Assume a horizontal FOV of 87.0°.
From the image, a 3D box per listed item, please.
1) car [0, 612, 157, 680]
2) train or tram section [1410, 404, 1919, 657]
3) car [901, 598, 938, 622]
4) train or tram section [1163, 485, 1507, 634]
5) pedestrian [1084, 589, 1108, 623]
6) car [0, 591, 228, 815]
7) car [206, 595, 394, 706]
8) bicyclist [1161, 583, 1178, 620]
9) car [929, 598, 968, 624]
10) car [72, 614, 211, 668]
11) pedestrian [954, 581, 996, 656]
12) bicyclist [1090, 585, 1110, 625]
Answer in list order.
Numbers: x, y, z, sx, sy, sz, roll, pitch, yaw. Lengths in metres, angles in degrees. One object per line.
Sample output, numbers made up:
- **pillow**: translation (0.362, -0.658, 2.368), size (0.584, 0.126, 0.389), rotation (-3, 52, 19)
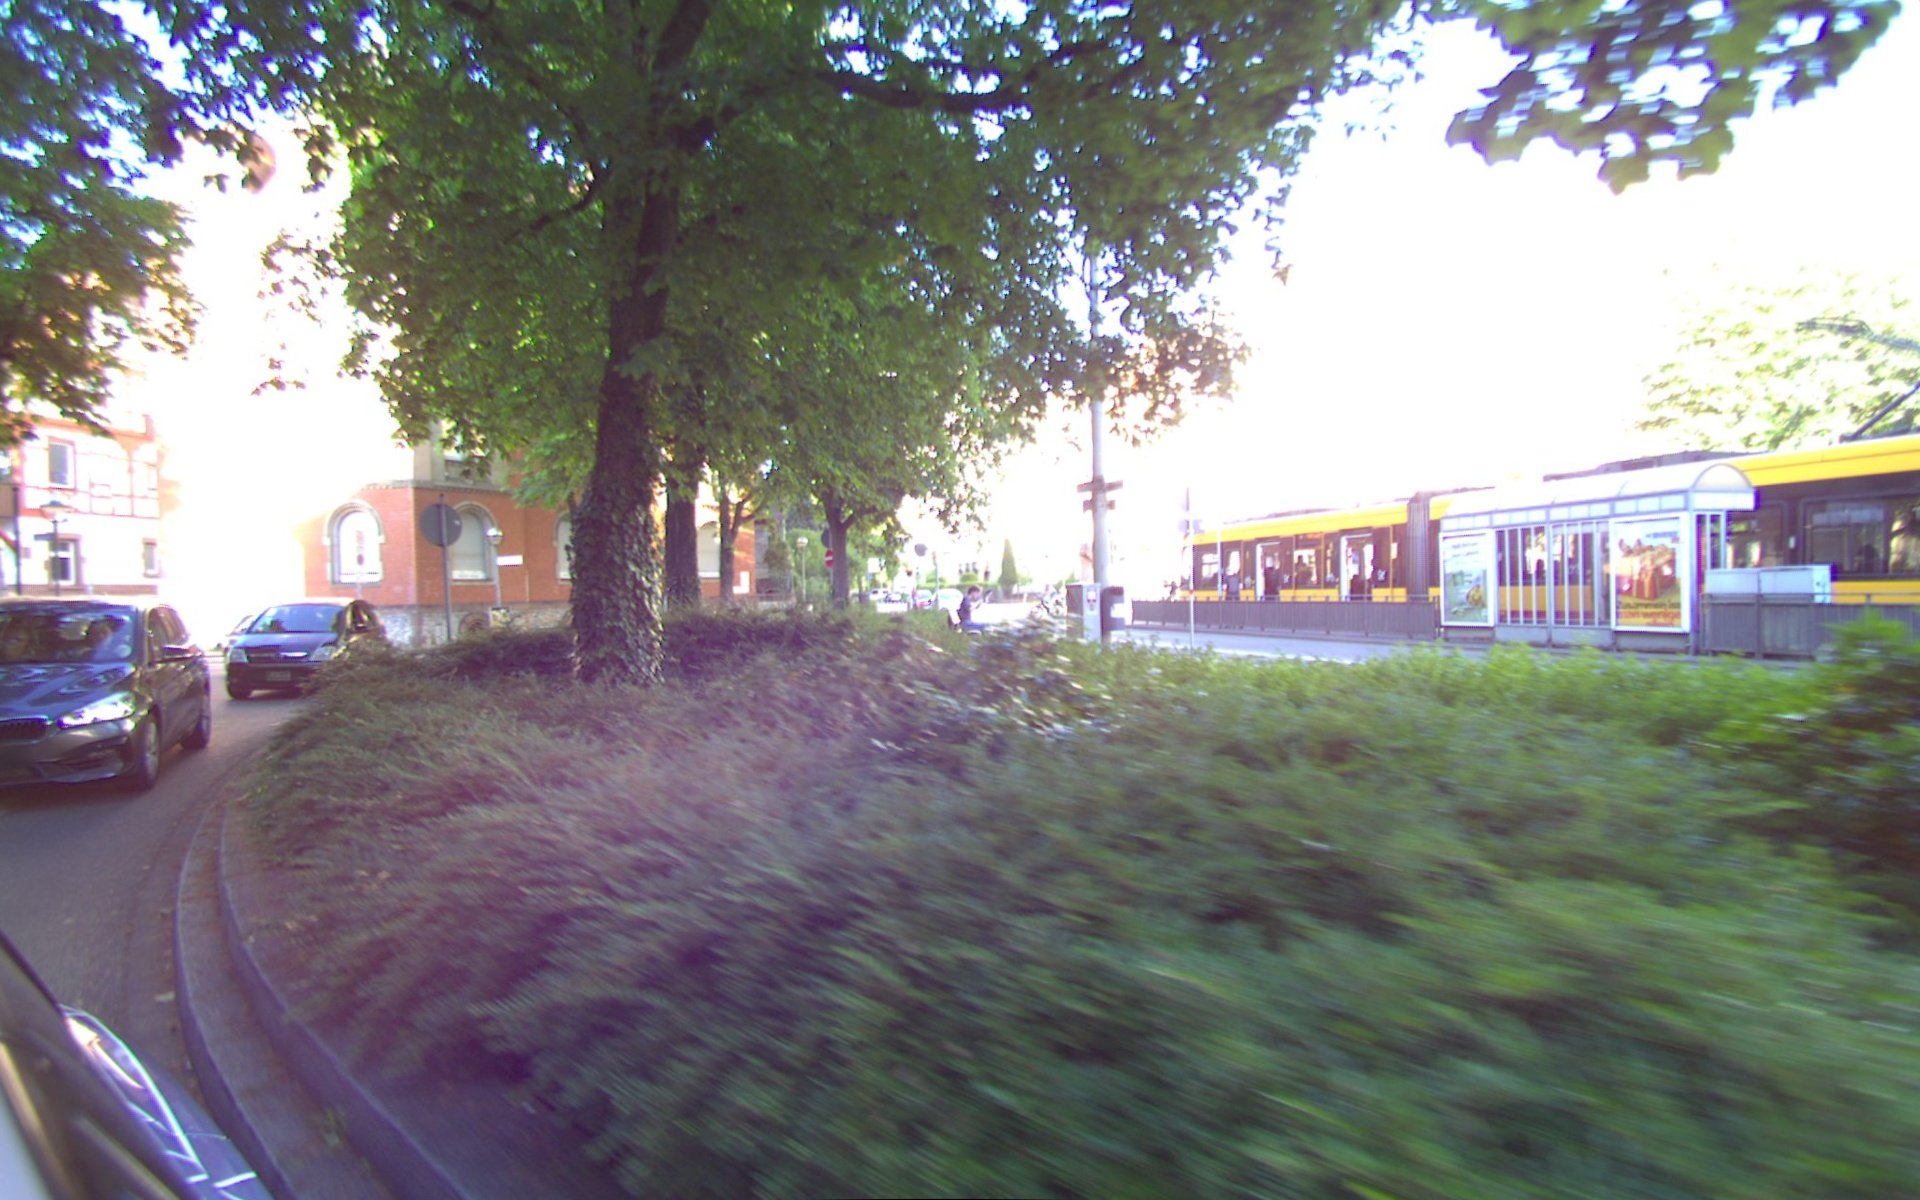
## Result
- **car**: translation (-22.746, 1.152, 25.406), size (4.001, 1.564, 1.694), rotation (-2, 0, 5)
- **train or tram section**: translation (13.898, -1.025, 18.679), size (2.739, 3.614, 12.457), rotation (-2, 0, -16)
- **car**: translation (-2.763, 0.664, 68.111), size (1.708, 1.427, 4.011), rotation (-2, 2, -13)
- **train or tram section**: translation (10.437, -1.007, 30.798), size (2.727, 3.584, 12.719), rotation (-2, 0, -16)
- **pedestrian**: translation (6.853, 0.292, 51.069), size (0.725, 1.647, 0.892), rotation (-3, 1, 43)
- **car**: translation (-7.990, 0.758, 9.016), size (1.764, 1.590, 4.274), rotation (-1, 0, -27)
- **car**: translation (-11.129, 0.771, 17.358), size (1.652, 1.640, 3.698), rotation (-2, 0, -16)
- **bicyclist**: translation (9.057, 0.075, 43.751), size (0.492, 1.585, 0.497), rotation (-1, 0, -18)
- **car**: translation (-0.715, 0.621, 60.273), size (1.709, 1.428, 4.008), rotation (-2, 0, -9)
- **car**: translation (-24.931, 1.224, 30.878), size (3.175, 1.551, 1.490), rotation (-1, -1, 5)
- **pedestrian**: translation (0.286, 0.363, 20.134), size (0.699, 1.454, 0.601), rotation (-2, 1, -9)
- **bicyclist**: translation (5.548, 0.192, 40.183), size (0.588, 1.585, 0.557), rotation (-1, 0, -14)
